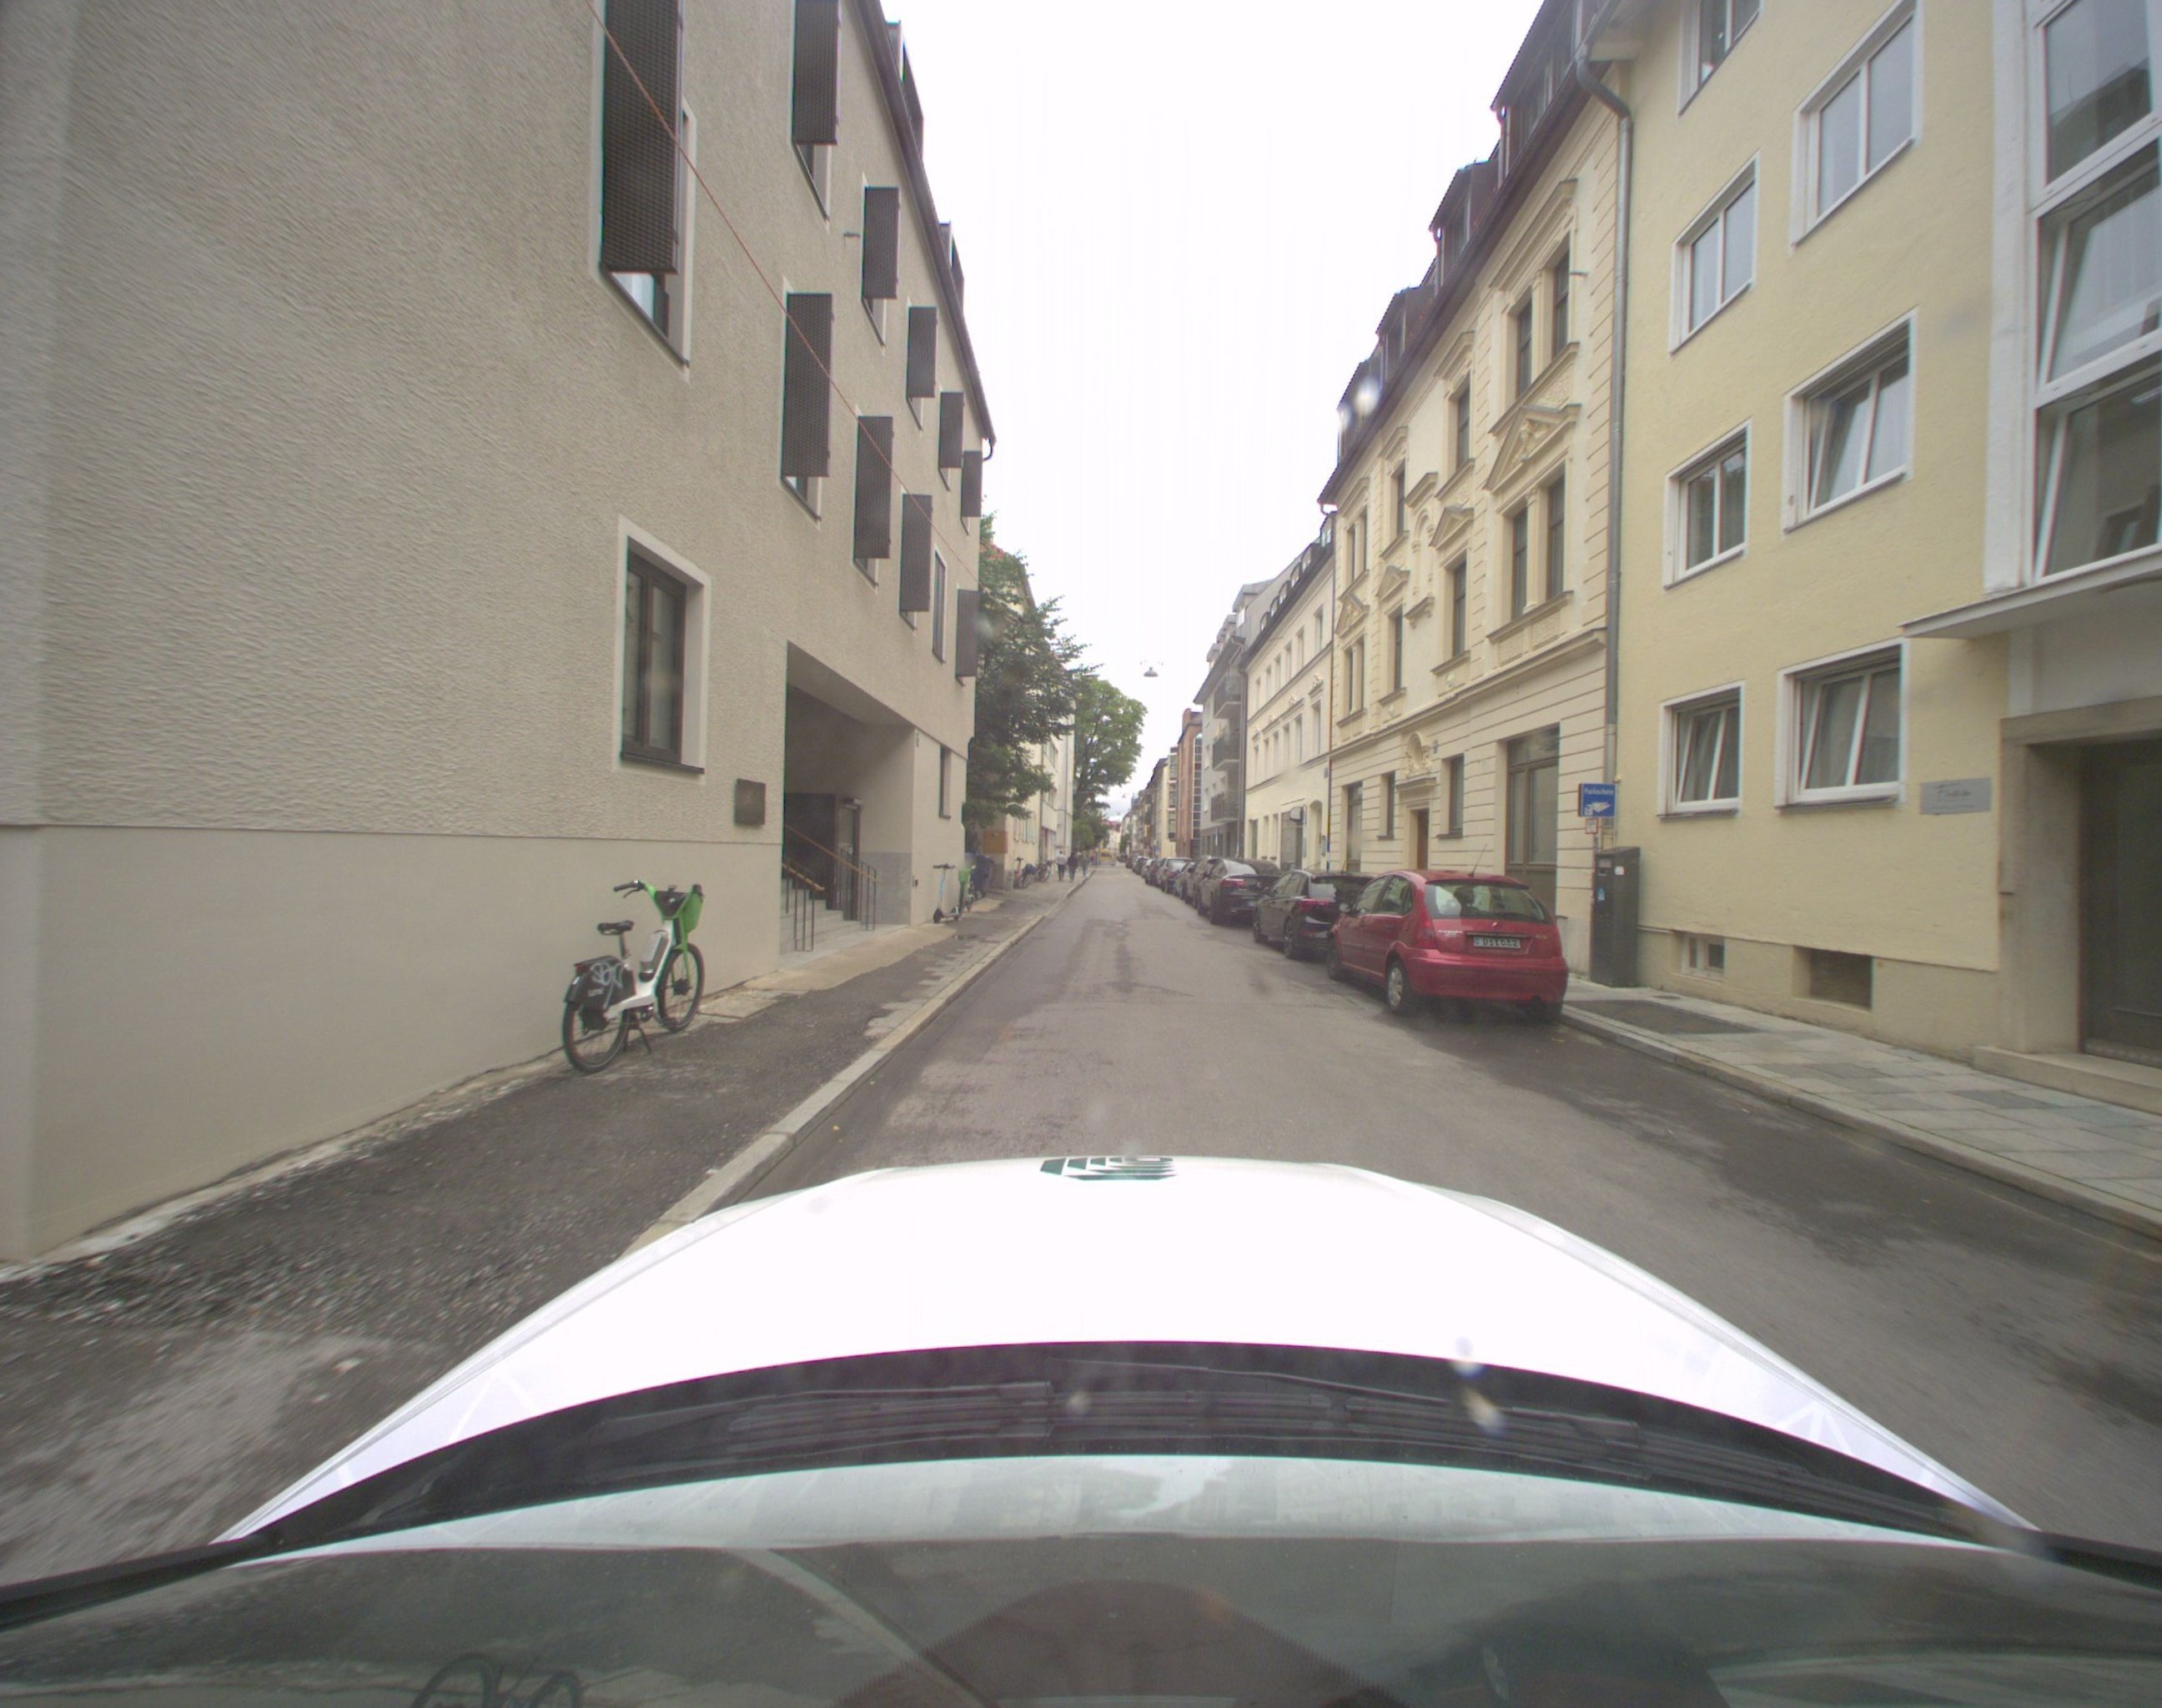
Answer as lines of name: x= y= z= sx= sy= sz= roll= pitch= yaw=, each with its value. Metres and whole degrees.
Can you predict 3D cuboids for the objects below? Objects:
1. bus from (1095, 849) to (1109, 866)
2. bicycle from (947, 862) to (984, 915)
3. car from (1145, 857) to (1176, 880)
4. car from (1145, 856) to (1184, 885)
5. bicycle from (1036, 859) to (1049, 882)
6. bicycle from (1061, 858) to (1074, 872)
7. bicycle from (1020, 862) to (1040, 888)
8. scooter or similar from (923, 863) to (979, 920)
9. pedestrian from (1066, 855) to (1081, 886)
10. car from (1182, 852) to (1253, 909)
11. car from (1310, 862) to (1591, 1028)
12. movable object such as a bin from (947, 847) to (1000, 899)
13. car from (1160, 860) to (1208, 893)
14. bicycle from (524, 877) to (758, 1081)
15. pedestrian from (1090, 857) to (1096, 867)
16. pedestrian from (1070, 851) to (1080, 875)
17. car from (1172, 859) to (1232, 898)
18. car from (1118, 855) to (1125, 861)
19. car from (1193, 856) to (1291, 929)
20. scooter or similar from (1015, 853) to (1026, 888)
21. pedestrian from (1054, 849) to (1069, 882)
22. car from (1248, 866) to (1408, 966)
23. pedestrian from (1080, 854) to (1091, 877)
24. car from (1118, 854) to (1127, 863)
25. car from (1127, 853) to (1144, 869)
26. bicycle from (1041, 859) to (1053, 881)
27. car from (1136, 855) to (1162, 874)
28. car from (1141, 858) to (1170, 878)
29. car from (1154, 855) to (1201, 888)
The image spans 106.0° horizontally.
bus: x=3.966 y=0.677 z=153.447 sx=2.583 sy=3.102 sz=6.309 roll=0 pitch=-1 yaw=2
bicycle: x=-2.735 y=0.789 z=19.454 sx=0.542 sy=1.161 sz=1.882 roll=3 pitch=0 yaw=0
car: x=5.486 y=0.965 z=56.491 sx=1.739 sy=1.462 sz=4.151 roll=2 pitch=0 yaw=1
car: x=4.681 y=0.903 z=46.086 sx=1.833 sy=1.528 sz=4.293 roll=2 pitch=0 yaw=1
bicycle: x=-1.998 y=0.852 z=42.662 sx=0.456 sy=1.159 sz=1.606 roll=3 pitch=-1 yaw=3
bicycle: x=-1.086 y=0.907 z=67.338 sx=0.643 sy=1.217 sz=1.655 roll=1 pitch=-1 yaw=-17
bicycle: x=-2.140 y=0.871 z=34.517 sx=0.702 sy=0.984 sz=1.821 roll=5 pitch=-1 yaw=-2
scooter or similar: x=-2.760 y=0.784 z=17.388 sx=0.547 sy=1.144 sz=1.364 roll=3 pitch=0 yaw=19
pedestrian: x=-0.410 y=0.938 z=46.737 sx=0.715 sy=1.765 sz=0.838 roll=3 pitch=-1 yaw=2
car: x=4.362 y=0.794 z=26.595 sx=1.670 sy=1.661 sz=4.514 roll=1 pitch=0 yaw=2
car: x=4.054 y=0.886 z=9.665 sx=1.670 sy=1.492 sz=3.855 roll=1 pitch=0 yaw=2
movable object such as a bin: x=-3.268 y=0.555 z=24.922 sx=1.168 sy=1.442 sz=1.251 roll=6 pitch=1 yaw=8
car: x=4.524 y=0.944 z=36.277 sx=1.801 sy=1.363 sz=3.948 roll=0 pitch=0 yaw=2
bicycle: x=-3.000 y=0.769 z=5.809 sx=0.536 sy=1.139 sz=1.917 roll=3 pitch=0 yaw=1
pedestrian: x=1.787 y=1.150 z=120.088 sx=0.753 sy=1.491 sz=0.831 roll=0 pitch=-1 yaw=2
pedestrian: x=-0.420 y=0.690 z=60.199 sx=0.610 sy=1.713 sz=0.823 roll=3 pitch=-1 yaw=1
car: x=4.632 y=0.887 z=31.735 sx=1.793 sy=1.386 sz=4.350 roll=0 pitch=0 yaw=1
car: x=10.694 y=1.044 z=213.498 sx=1.794 sy=1.614 sz=4.002 roll=2 pitch=0 yaw=2
car: x=3.958 y=0.874 z=20.782 sx=1.695 sy=1.607 sz=4.686 roll=1 pitch=0 yaw=2
scooter or similar: x=-2.428 y=0.667 z=32.792 sx=0.316 sy=1.376 sz=1.239 roll=0 pitch=-1 yaw=2
pedestrian: x=-1.130 y=0.657 z=46.540 sx=0.715 sy=1.796 sz=0.917 roll=3 pitch=-1 yaw=2
car: x=4.120 y=0.963 z=14.245 sx=1.670 sy=1.393 sz=4.067 roll=1 pitch=0 yaw=2
pedestrian: x=0.344 y=0.859 z=60.204 sx=0.750 sy=1.659 sz=0.907 roll=3 pitch=-1 yaw=2
car: x=9.489 y=1.031 z=185.232 sx=1.795 sy=1.712 sz=3.826 roll=5 pitch=0 yaw=0
car: x=7.128 y=0.916 z=107.422 sx=1.795 sy=1.820 sz=3.999 roll=5 pitch=0 yaw=0
bicycle: x=-1.859 y=0.869 z=44.376 sx=0.560 sy=1.159 sz=1.718 roll=1 pitch=-1 yaw=-4
car: x=5.878 y=0.915 z=70.940 sx=1.879 sy=1.555 sz=4.391 roll=2 pitch=0 yaw=0
car: x=5.524 y=1.017 z=61.093 sx=1.830 sy=1.417 sz=4.601 roll=2 pitch=0 yaw=1
car: x=4.827 y=0.834 z=41.194 sx=1.869 sy=1.570 sz=4.316 roll=0 pitch=0 yaw=0
